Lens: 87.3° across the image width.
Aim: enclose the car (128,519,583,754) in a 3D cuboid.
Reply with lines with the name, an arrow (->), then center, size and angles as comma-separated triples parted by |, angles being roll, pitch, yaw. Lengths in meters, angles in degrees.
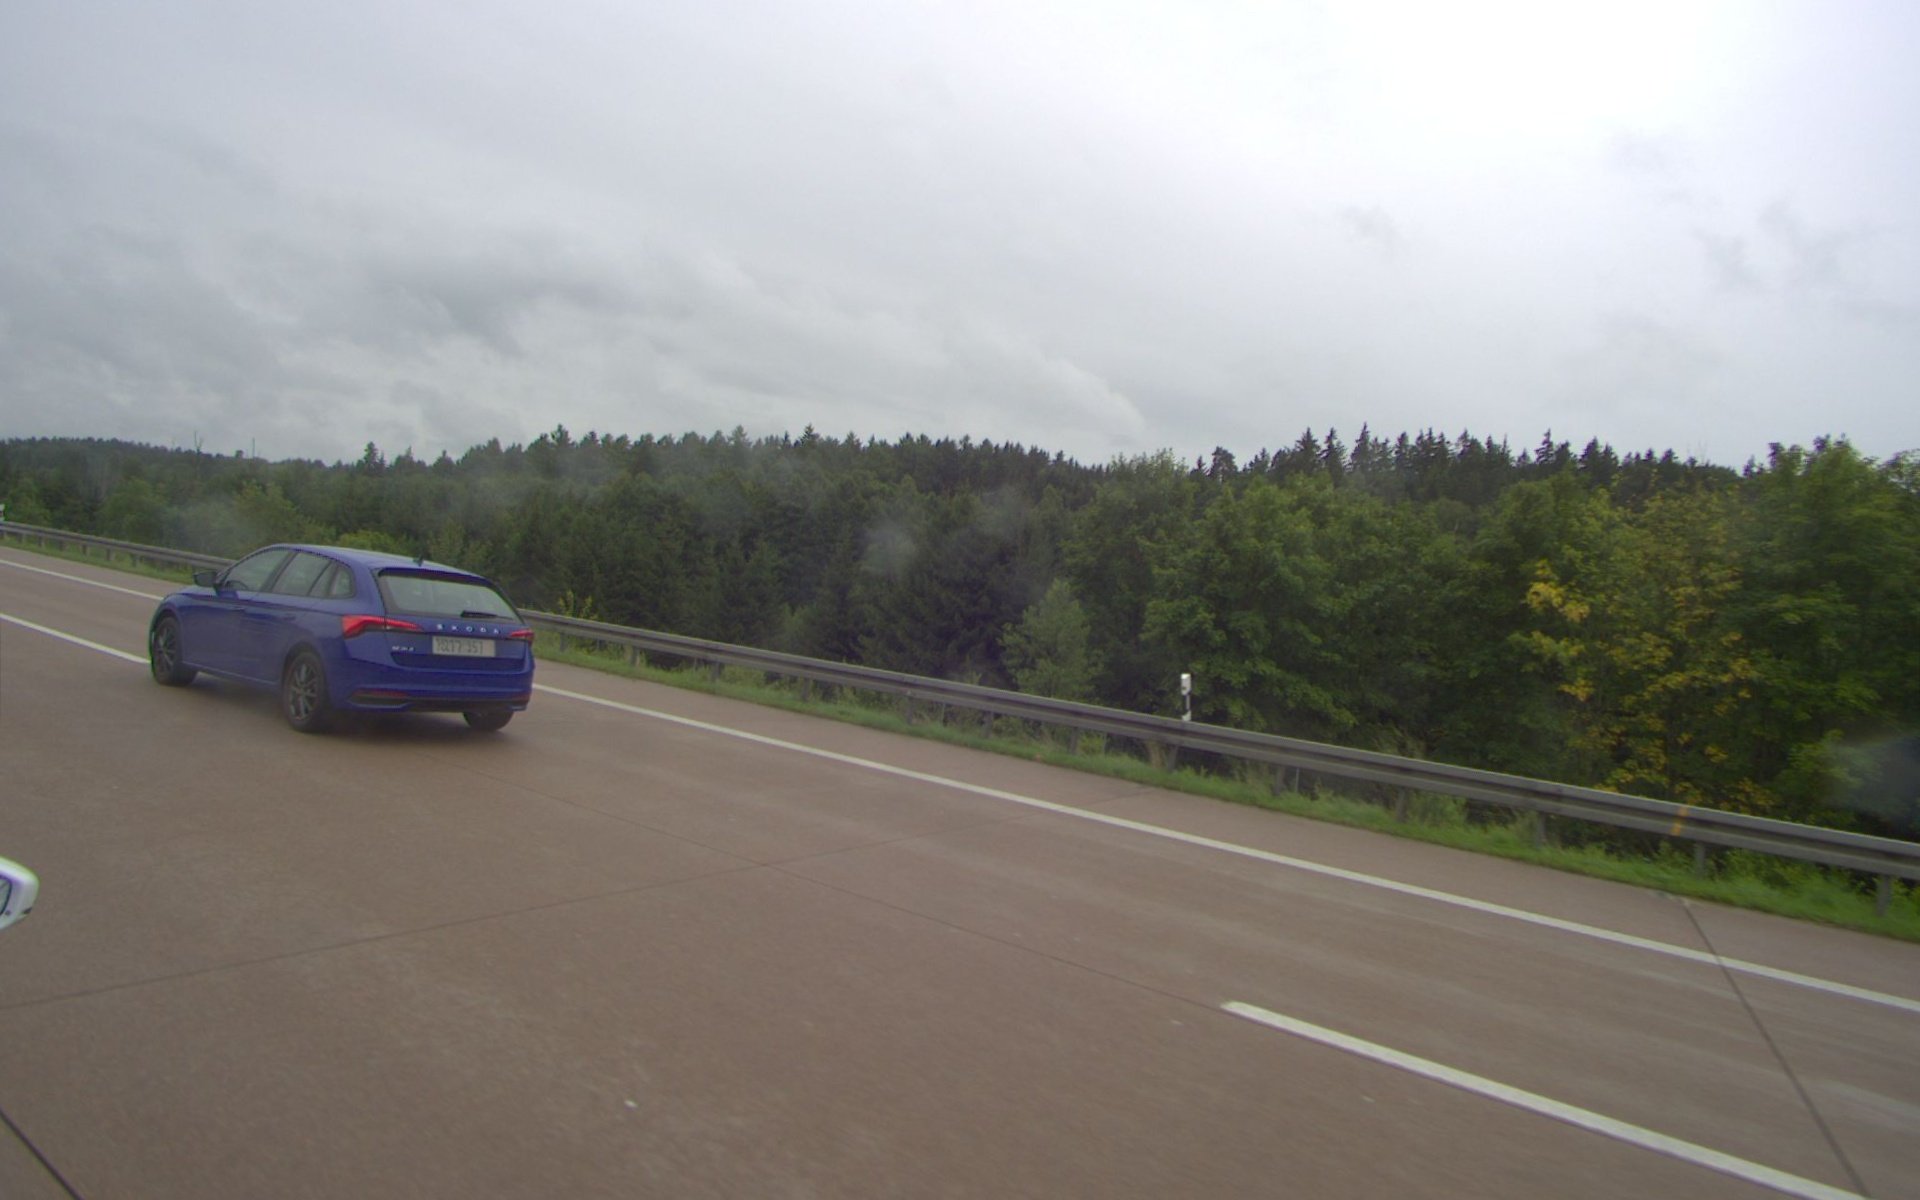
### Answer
car -> -5.588, 0.266, 9.178 | 4.079, 1.582, 1.774 | 5, -2, 32
